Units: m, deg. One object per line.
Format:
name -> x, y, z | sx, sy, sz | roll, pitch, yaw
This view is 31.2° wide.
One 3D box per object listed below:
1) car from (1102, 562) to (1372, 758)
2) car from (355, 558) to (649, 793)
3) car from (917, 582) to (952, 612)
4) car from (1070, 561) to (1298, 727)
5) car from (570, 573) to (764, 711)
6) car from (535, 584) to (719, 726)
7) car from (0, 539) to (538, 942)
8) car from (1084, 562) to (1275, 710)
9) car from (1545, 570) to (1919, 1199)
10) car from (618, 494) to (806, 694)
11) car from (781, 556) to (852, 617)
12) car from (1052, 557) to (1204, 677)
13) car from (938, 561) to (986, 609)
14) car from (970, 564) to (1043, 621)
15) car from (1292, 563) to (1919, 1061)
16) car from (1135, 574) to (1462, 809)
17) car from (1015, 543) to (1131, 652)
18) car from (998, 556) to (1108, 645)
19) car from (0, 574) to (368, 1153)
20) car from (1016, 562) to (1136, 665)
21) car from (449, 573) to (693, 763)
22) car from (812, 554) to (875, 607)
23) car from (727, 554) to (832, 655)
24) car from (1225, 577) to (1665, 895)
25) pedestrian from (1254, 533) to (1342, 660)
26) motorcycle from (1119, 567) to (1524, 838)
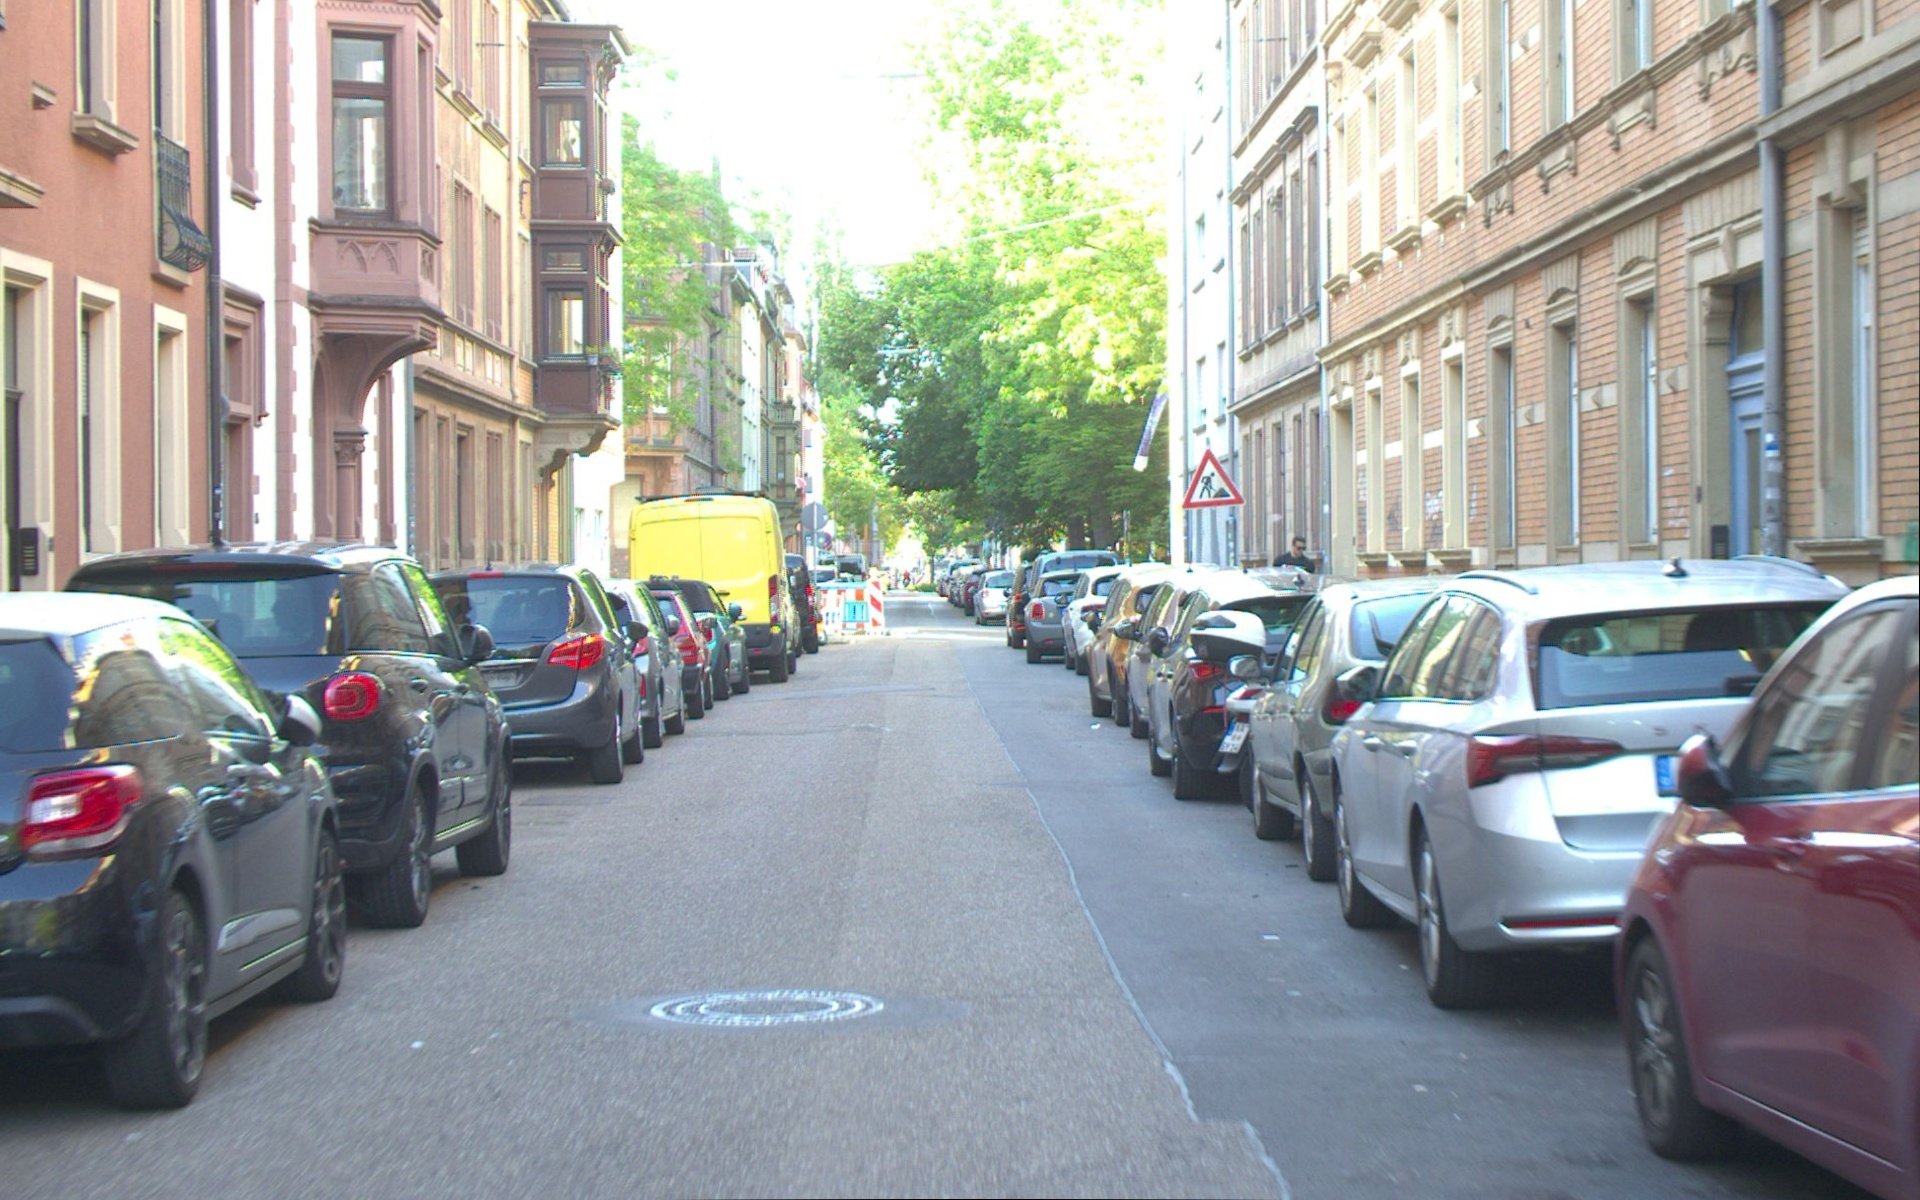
car -> 2.301, 0.458, 29.558 | 1.725, 1.412, 4.094 | -5, 1, -2
car -> -3.337, 0.497, 25.703 | 1.781, 1.600, 4.070 | 0, 1, -2
car -> -1.533, -0.189, 204.706 | 1.993, 1.722, 4.000 | -1, 1, -1
car -> 2.172, 0.396, 34.303 | 1.753, 1.441, 4.069 | -4, 1, -2
car -> -3.445, 0.460, 41.106 | 1.718, 1.408, 3.897 | -5, 0, 2
car -> -3.483, 0.546, 36.425 | 1.618, 1.322, 3.613 | -3, 1, -1
car -> -3.106, 0.545, 15.985 | 1.761, 1.612, 4.189 | -1, 1, 0
car -> 2.453, 0.372, 39.278 | 1.720, 1.475, 4.083 | -4, 1, -1
car -> 2.551, 0.685, 7.519 | 1.658, 1.474, 4.025 | -1, 1, -3
car -> -3.368, -0.111, 47.776 | 2.175, 2.499, 5.878 | -3, 1, -1
car -> -4.226, -0.390, 101.554 | 1.882, 1.701, 4.000 | -2, 0, 0
car -> 2.393, 0.206, 49.916 | 1.753, 1.513, 4.444 | -5, 1, -2
car -> 0.068, -0.712, 166.786 | 2.160, 2.248, 4.526 | -1, 0, -2
car -> 1.270, -0.216, 95.340 | 1.723, 1.517, 4.001 | -1, 1, -3
car -> 2.329, 0.624, 12.686 | 1.762, 1.479, 4.401 | -1, 1, 0
car -> 2.197, 0.550, 23.371 | 1.777, 1.392, 4.317 | -1, 1, 0
car -> 1.972, -0.079, 61.239 | 1.753, 1.780, 4.724 | -3, 1, -1
car -> 1.746, 0.003, 65.909 | 1.900, 1.634, 4.391 | -1, 0, -1
car -> -2.989, 0.698, 10.766 | 1.643, 1.450, 3.839 | -3, 1, -2
car -> 1.849, 0.189, 55.803 | 1.754, 1.448, 4.288 | -5, 1, 1
car -> -3.400, 0.555, 30.659 | 1.694, 1.469, 3.919 | -3, 1, -1
car -> -4.715, -0.774, 139.477 | 2.309, 2.107, 5.170 | -1, 0, 0
car -> -3.297, 0.062, 62.461 | 1.818, 1.760, 4.336 | -1, 0, -3
car -> 2.377, 0.611, 17.752 | 1.692, 1.401, 3.992 | -1, 1, 0
pedestrian -> 4.461, -0.043, 45.381 | 0.654, 1.625, 0.880 | -2, 0, -42
motorcycle -> 2.154, 0.602, 20.412 | 2.218, 1.531, 0.890 | 1, 1, -26
